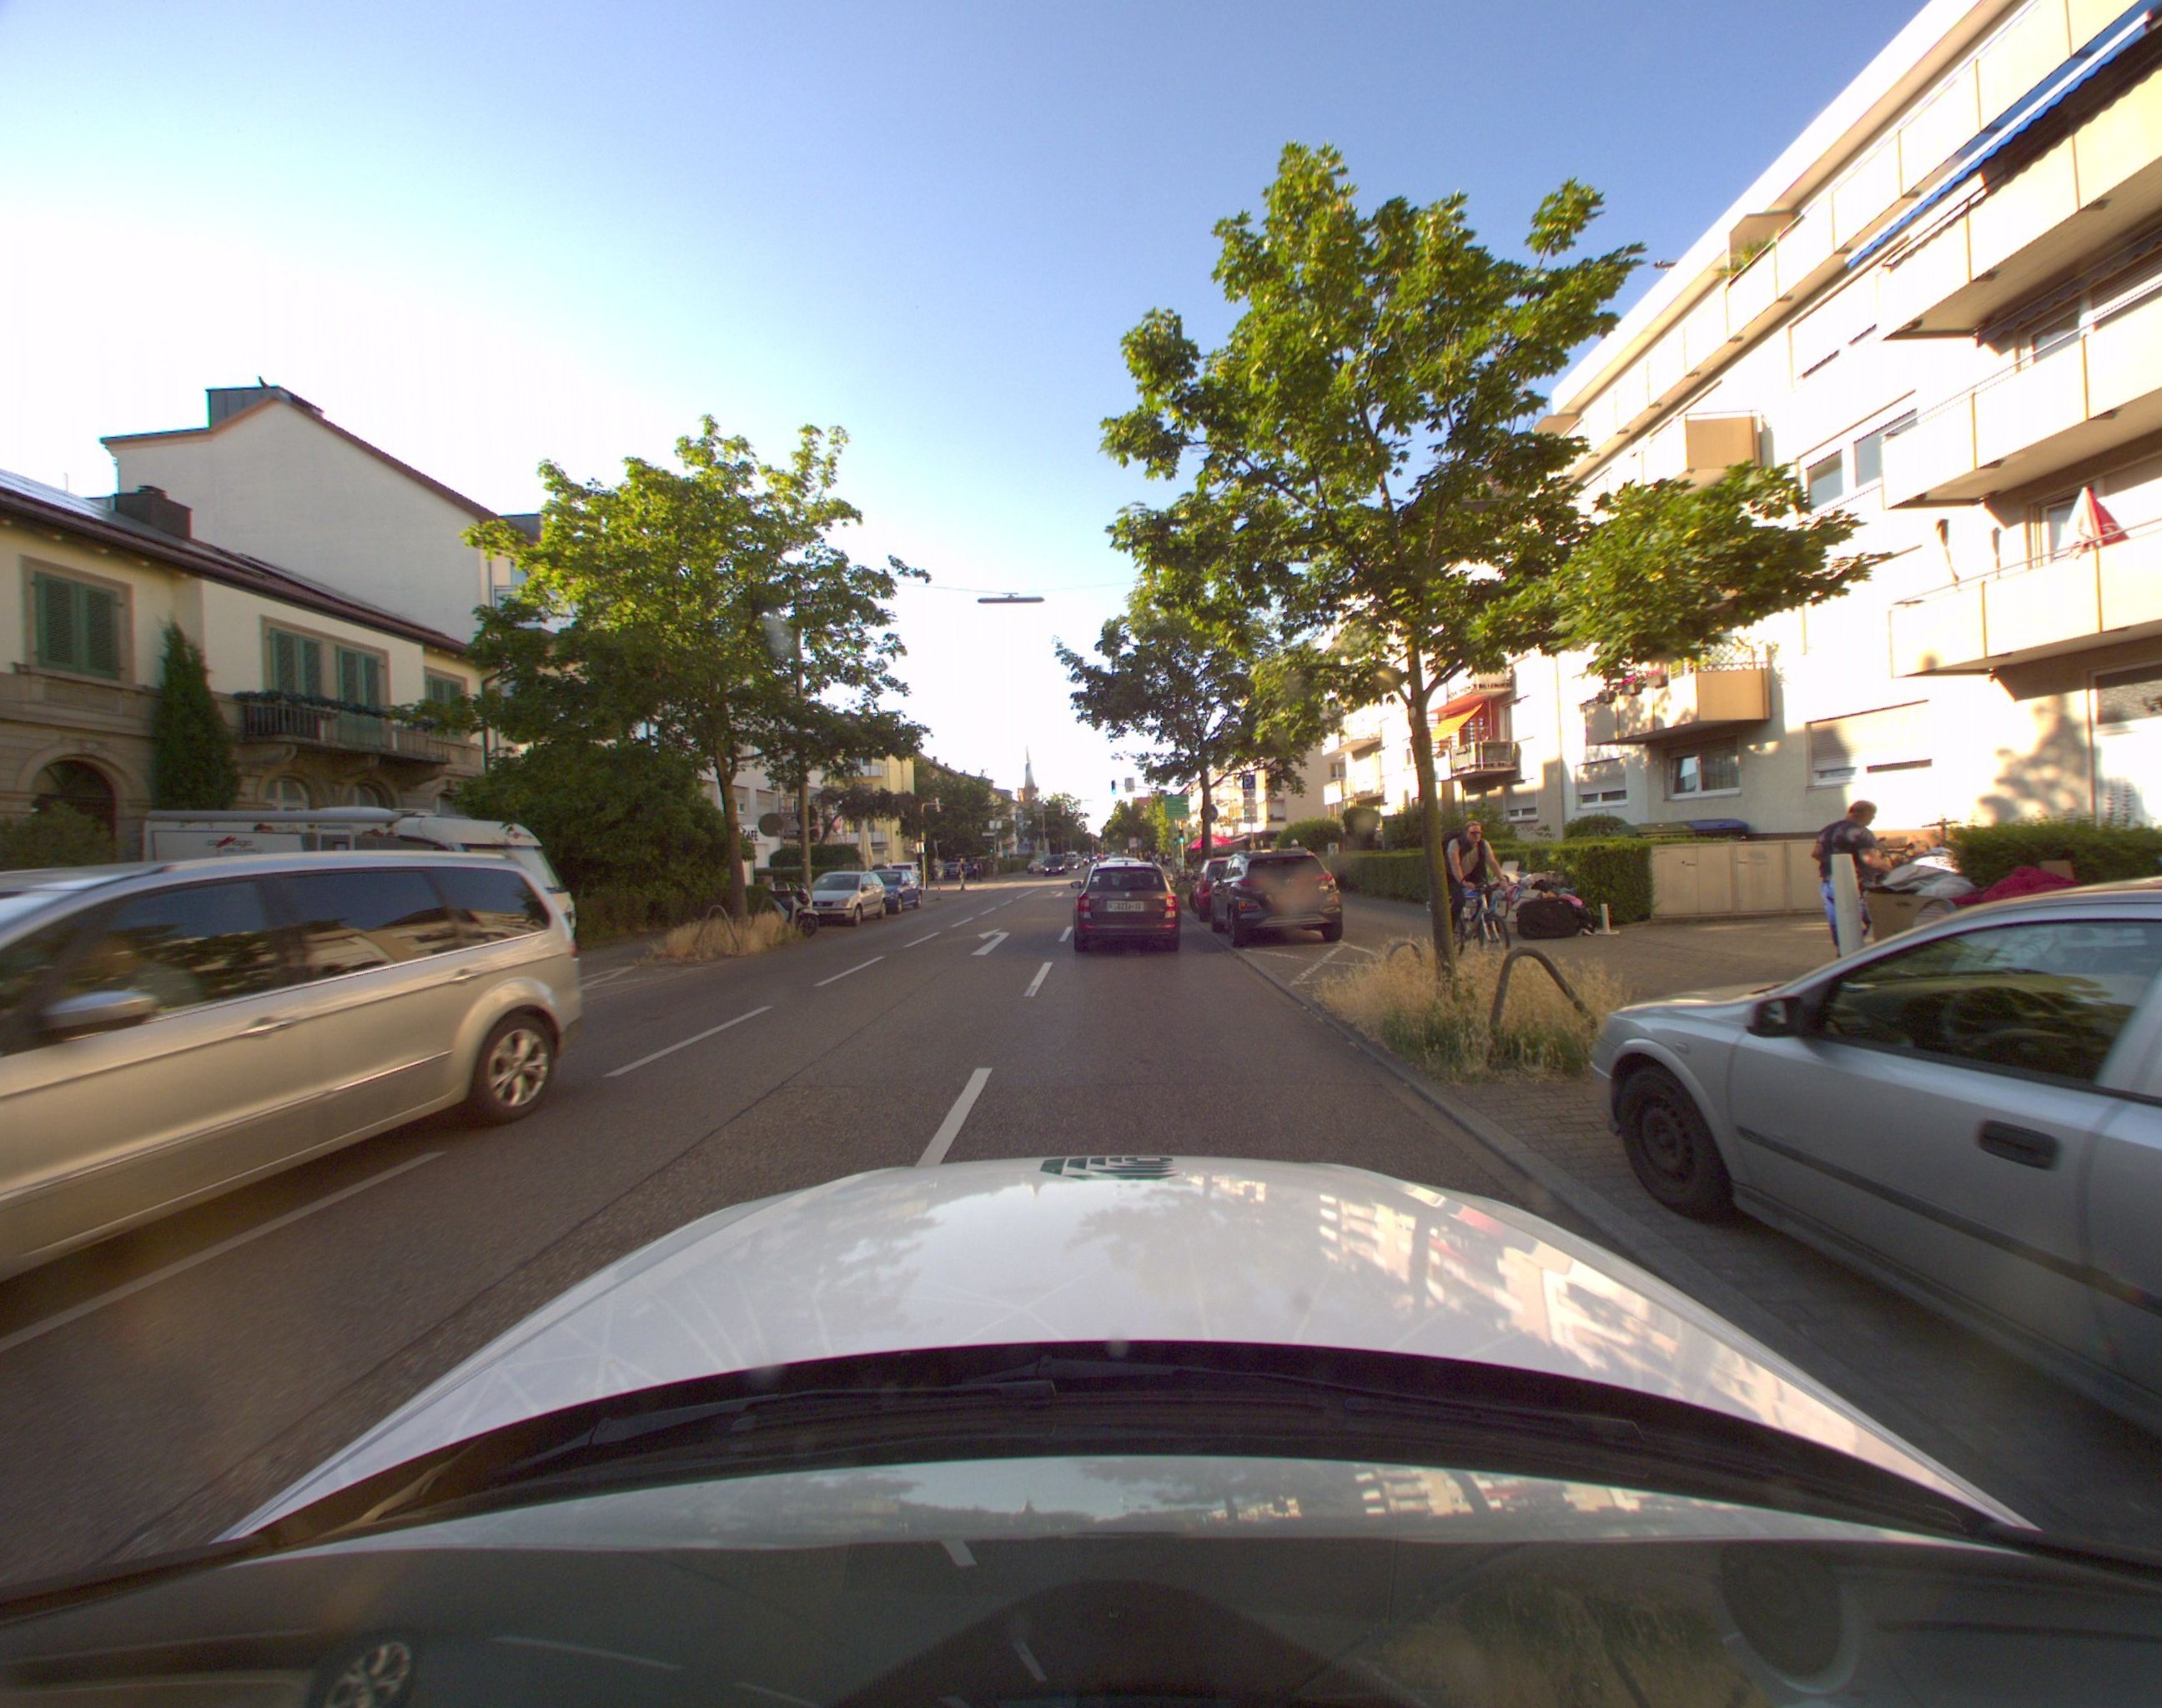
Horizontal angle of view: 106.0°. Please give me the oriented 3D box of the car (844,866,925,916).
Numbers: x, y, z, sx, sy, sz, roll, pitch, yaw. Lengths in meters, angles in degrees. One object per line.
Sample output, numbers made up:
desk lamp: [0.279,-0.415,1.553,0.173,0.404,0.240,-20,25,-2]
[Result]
car: [-6.611,1.201,27.826,1.642,1.517,4.075,-1,0,2]

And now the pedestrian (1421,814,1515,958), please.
pedestrian: [4.832,0.392,10.223,0.752,1.709,0.776,-2,-1,2]

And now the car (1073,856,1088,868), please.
car: [-0.040,1.127,120.370,1.985,1.610,4.003,-2,0,3]

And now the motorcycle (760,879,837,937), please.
motorcycle: [-6.776,1.276,19.485,2.028,1.265,0.772,-3,-1,40]

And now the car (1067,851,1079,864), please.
car: [-1.555,0.654,162.158,1.986,2.478,4.002,-2,0,2]

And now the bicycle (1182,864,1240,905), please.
bicycle: [3.725,0.870,23.382,1.564,1.104,0.392,-2,-1,2]

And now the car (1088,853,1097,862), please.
car: [2.711,0.929,197.789,1.986,2.013,4.002,-3,0,2]

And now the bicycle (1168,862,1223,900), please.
bicycle: [3.764,0.880,26.773,1.677,1.107,0.518,-5,-1,8]

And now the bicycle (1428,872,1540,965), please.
bicycle: [4.938,0.747,10.110,0.514,0.987,1.832,-2,0,2]

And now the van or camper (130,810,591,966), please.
van or camper: [-13.590,0.609,15.741,6.774,2.773,2.352,0,0,0]

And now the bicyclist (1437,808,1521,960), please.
bicyclist: [4.919,0.359,10.110,0.579,1.789,0.852,-2,0,2]

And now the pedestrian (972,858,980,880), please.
pedestrian: [-8.651,1.202,66.970,0.447,1.797,0.504,-3,-1,2]

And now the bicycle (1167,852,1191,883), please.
bicycle: [3.834,0.532,32.002,0.501,1.147,1.956,-5,-1,-4]

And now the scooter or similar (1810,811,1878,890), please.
scooter or similar: [14.461,-0.057,15.451,0.612,1.442,0.669,-3,0,1]

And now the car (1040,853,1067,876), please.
car: [-2.471,0.921,73.427,1.986,1.908,4.965,-4,0,1]

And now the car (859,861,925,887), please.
car: [-14.741,1.529,63.755,4.617,1.812,1.862,-2,0,1]

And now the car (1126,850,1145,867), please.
car: [5.995,0.489,89.592,1.984,1.772,4.005,-1,0,5]

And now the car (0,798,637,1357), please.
car: [-4.397,0.783,3.828,1.799,1.804,4.747,-4,0,1]

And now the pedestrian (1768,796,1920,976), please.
pedestrian: [7.376,0.295,7.906,0.692,1.640,0.757,-3,0,-3]

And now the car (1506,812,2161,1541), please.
car: [3.086,0.647,2.148,1.702,1.480,4.269,-4,0,1]

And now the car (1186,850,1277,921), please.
car: [3.592,0.699,20.052,1.696,1.450,4.018,-4,0,4]

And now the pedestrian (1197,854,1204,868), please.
pedestrian: [11.011,0.622,75.161,0.497,1.302,0.507,-2,-1,-1]

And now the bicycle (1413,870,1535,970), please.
bicycle: [4.850,0.761,10.222,0.555,1.075,2.080,-2,0,2]

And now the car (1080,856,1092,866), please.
car: [0.755,1.177,133.298,1.780,1.571,4.003,-1,0,3]

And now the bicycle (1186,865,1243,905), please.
bicycle: [3.916,0.901,23.965,1.564,1.104,0.502,-2,0,2]

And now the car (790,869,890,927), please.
car: [-6.775,1.192,23.241,1.587,1.470,3.805,0,0,2]

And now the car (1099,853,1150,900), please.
car: [1.602,0.781,29.868,1.730,1.571,4.003,-1,0,3]

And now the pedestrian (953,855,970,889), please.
pedestrian: [-7.141,1.073,48.813,0.777,1.987,0.821,-3,-1,2]

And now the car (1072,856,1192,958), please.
car: [0.820,0.797,14.341,1.766,1.489,4.312,-1,0,1]

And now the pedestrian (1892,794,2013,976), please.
pedestrian: [7.855,0.265,7.371,0.586,1.540,0.700,-3,-1,38]

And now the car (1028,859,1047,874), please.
car: [-4.551,1.256,85.568,1.517,1.457,3.586,-2,0,2]

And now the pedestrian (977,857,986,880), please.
pedestrian: [-8.131,1.167,66.538,0.613,1.797,0.504,-3,-1,2]

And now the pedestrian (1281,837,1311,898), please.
pedestrian: [6.395,0.387,24.253,0.659,1.749,0.774,-4,-1,8]

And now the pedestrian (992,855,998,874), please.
pedestrian: [-7.153,0.863,67.904,0.299,1.504,0.641,-2,-1,3]

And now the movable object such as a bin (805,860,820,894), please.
movable object such as a bin: [-11.536,0.966,34.957,0.390,1.427,0.575,-2,0,0]

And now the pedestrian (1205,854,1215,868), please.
pedestrian: [11.757,0.648,74.351,0.726,1.198,0.856,-2,0,2]

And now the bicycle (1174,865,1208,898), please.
bicycle: [3.790,0.926,28.023,0.613,1.051,1.583,-3,0,28]

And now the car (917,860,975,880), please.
car: [-11.504,1.364,69.682,4.617,1.535,1.862,-1,0,1]

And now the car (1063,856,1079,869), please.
car: [-1.243,1.068,102.828,1.823,1.579,4.002,-3,0,2]

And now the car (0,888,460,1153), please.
car: [-7.540,1.109,6.310,1.860,1.494,4.519,-1,0,2]

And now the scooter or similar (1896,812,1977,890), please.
scooter or similar: [14.467,-0.051,13.781,0.612,1.272,0.669,-3,0,1]

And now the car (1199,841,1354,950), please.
car: [3.344,0.661,14.758,1.849,1.581,4.014,-4,0,1]

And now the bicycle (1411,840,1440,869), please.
bicycle: [14.840,0.026,35.101,0.521,1.183,1.797,-2,0,3]

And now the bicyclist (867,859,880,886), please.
bicyclist: [-14.536,1.288,57.165,0.738,1.823,0.652,-3,0,-7]

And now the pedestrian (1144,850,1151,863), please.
pedestrian: [9.063,0.359,111.363,0.668,1.704,0.806,-3,-1,28]

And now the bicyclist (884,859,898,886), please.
bicyclist: [-13.171,1.273,56.461,0.738,1.823,0.652,-3,0,-7]

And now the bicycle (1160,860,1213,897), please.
bicycle: [3.861,0.890,29.733,1.824,1.157,0.685,-5,-1,8]
